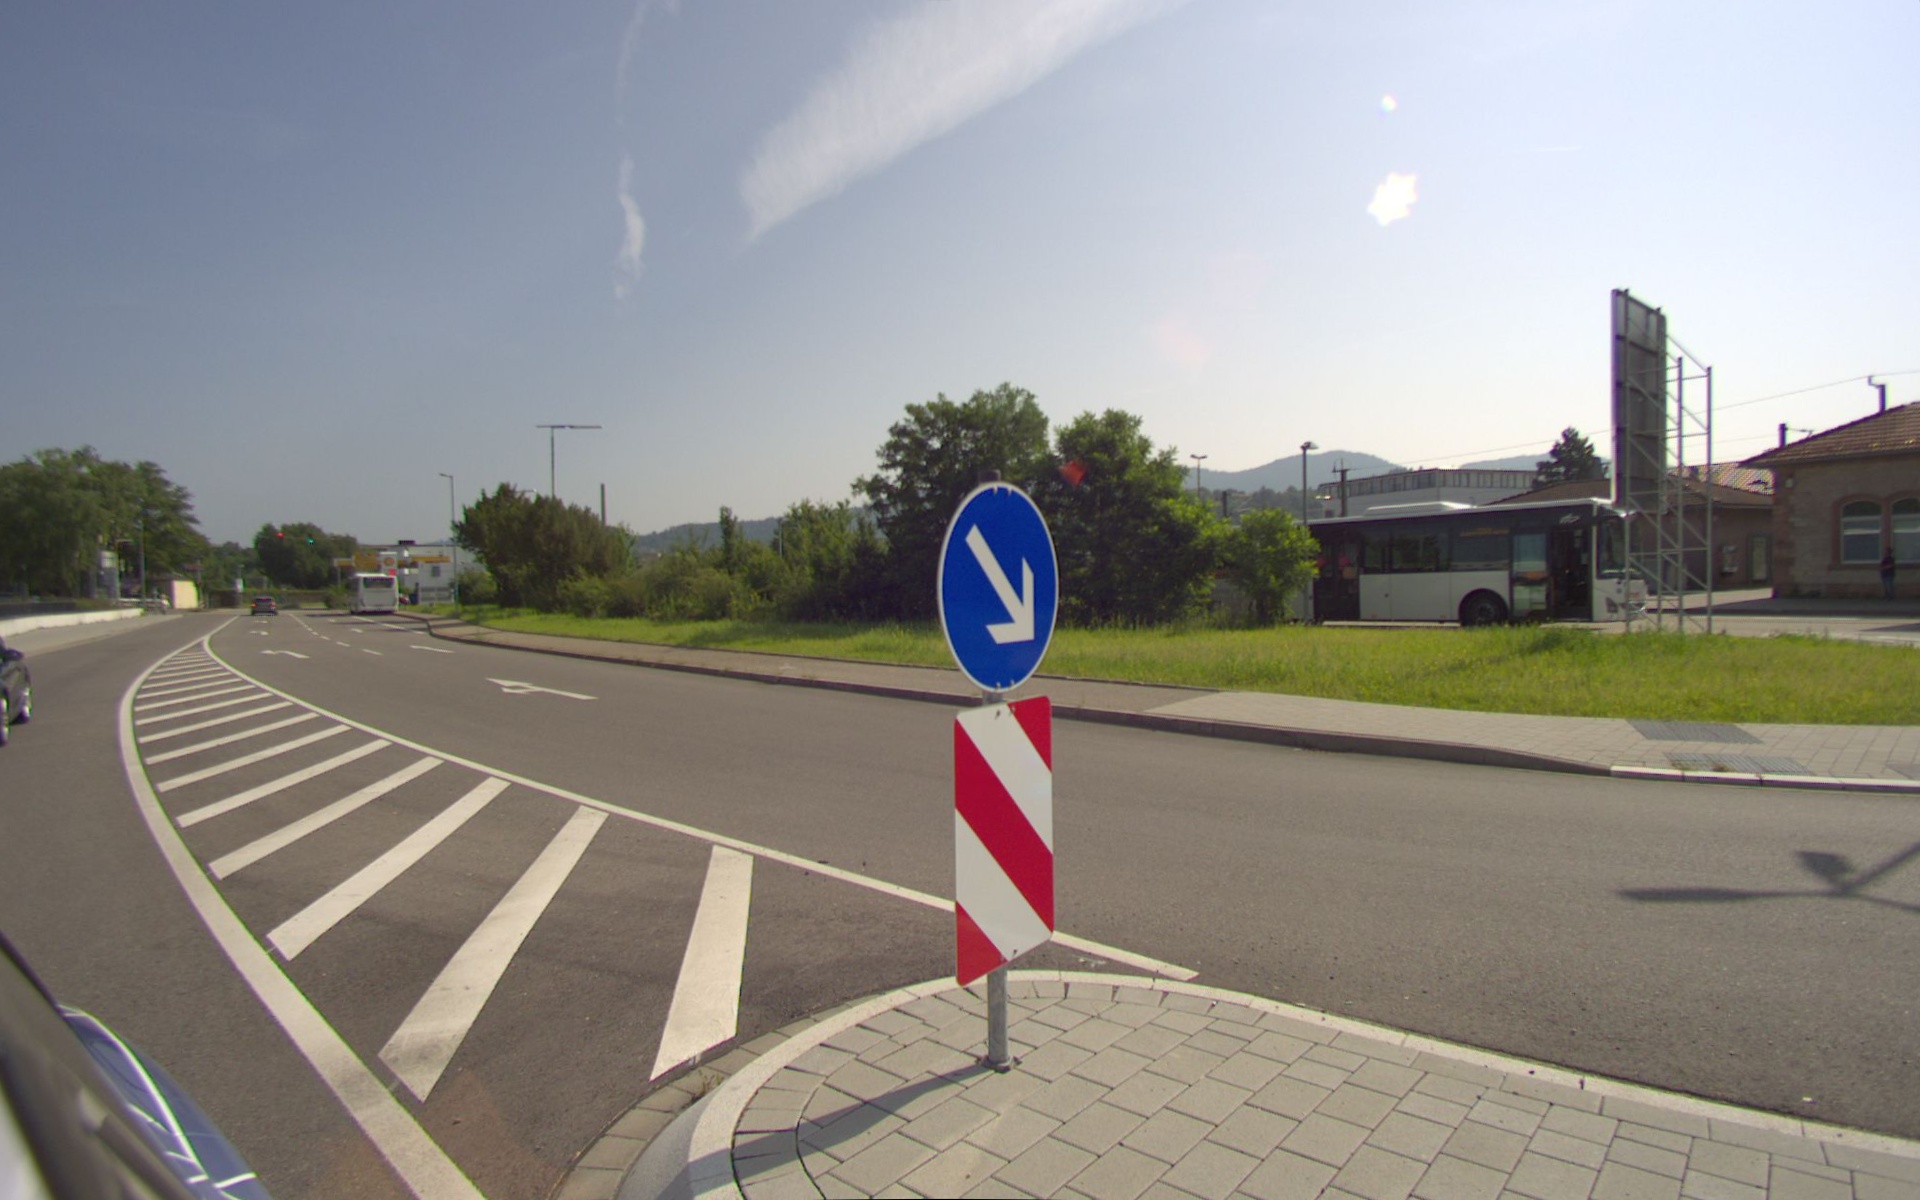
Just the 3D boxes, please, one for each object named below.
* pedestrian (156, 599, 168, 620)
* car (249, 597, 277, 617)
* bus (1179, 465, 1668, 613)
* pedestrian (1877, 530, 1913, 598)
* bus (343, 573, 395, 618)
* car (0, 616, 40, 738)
[{"bbox_3d":[-64.591,0.750,81.886,0.702,1.683,0.594,-1,1,-41],"label":"pedestrian"},{"bbox_3d":[-55.367,0.503,80.454,1.748,1.484,4.231,-1,1,-34],"label":"car"},{"bbox_3d":[11.505,-1.296,27.023,3.026,3.147,11.743,-2,1,-39],"label":"bus"},{"bbox_3d":[28.037,-1.080,30.351,0.521,2.029,0.579,-1,1,-14],"label":"pedestrian"},{"bbox_3d":[-46.802,-0.391,80.002,2.586,3.335,11.987,-1,1,-35],"label":"bus"},{"bbox_3d":[-12.198,0.929,11.679,1.839,1.340,4.242,-2,1,-36],"label":"car"}]
